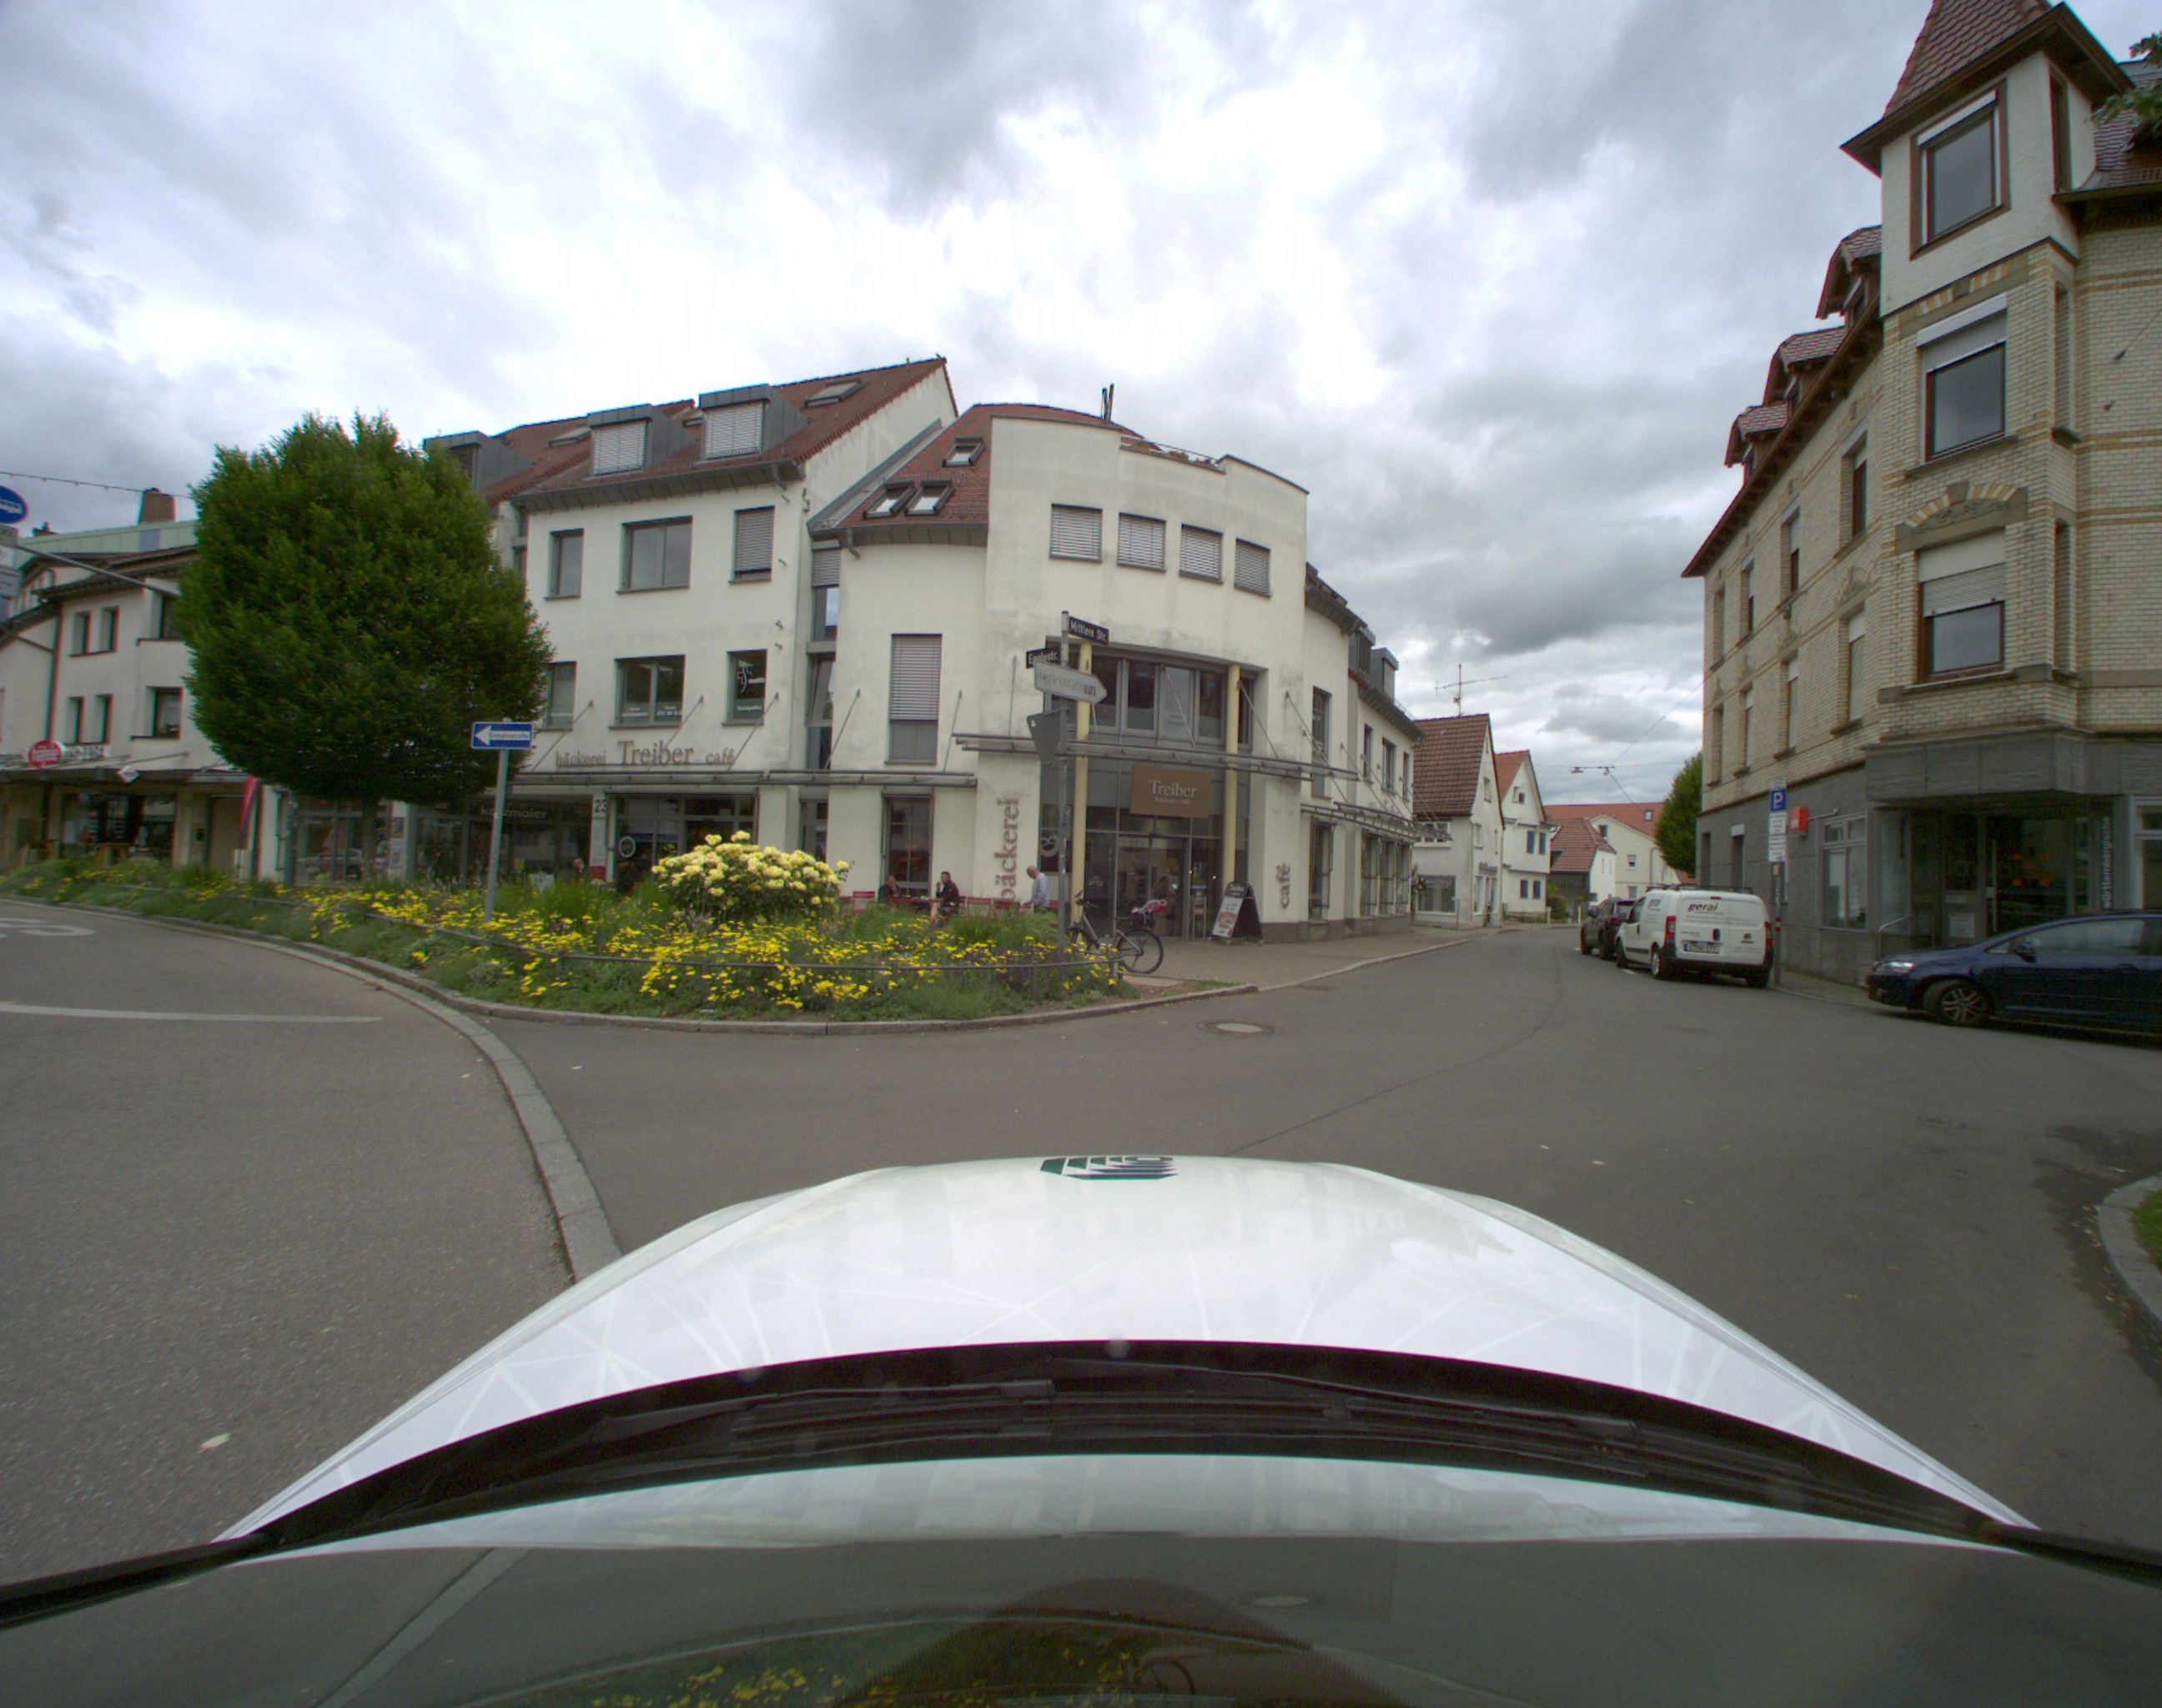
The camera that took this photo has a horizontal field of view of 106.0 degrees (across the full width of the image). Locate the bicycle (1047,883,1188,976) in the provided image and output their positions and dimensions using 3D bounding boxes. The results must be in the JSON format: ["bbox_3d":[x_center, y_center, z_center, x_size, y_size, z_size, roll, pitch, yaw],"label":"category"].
[{"bbox_3d":[0.562,1.115,12.410,1.959,1.240,0.747,3,-1,16],"label":"bicycle"}]

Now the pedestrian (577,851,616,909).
[{"bbox_3d":[-11.077,0.592,18.614,0.486,1.271,0.504,2,-1,17],"label":"pedestrian"}]

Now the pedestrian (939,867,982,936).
[{"bbox_3d":[-2.413,0.936,16.317,0.652,1.341,0.697,2,-1,4],"label":"pedestrian"}]

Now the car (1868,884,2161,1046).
[{"bbox_3d":[12.591,1.366,10.016,1.871,1.704,3.976,6,-3,-39],"label":"car"}]

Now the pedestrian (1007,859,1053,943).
[{"bbox_3d":[-0.959,0.882,15.530,0.697,1.525,0.868,2,-1,4],"label":"pedestrian"}]

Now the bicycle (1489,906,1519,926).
[{"bbox_3d":[23.562,3.477,45.377,2.099,1.039,0.439,4,2,-33],"label":"bicycle"}]

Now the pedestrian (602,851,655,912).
[{"bbox_3d":[-10.145,0.617,18.280,0.562,1.318,0.768,2,-3,17],"label":"pedestrian"}]

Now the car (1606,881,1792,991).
[{"bbox_3d":[12.068,1.508,16.238,1.810,1.792,4.239,3,-2,21],"label":"car"}]

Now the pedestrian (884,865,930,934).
[{"bbox_3d":[-3.512,0.906,16.488,0.697,1.332,0.685,2,-1,4],"label":"pedestrian"}]

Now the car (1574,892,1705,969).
[{"bbox_3d":[14.048,1.863,20.757,1.772,1.601,4.565,3,-2,22],"label":"car"}]
